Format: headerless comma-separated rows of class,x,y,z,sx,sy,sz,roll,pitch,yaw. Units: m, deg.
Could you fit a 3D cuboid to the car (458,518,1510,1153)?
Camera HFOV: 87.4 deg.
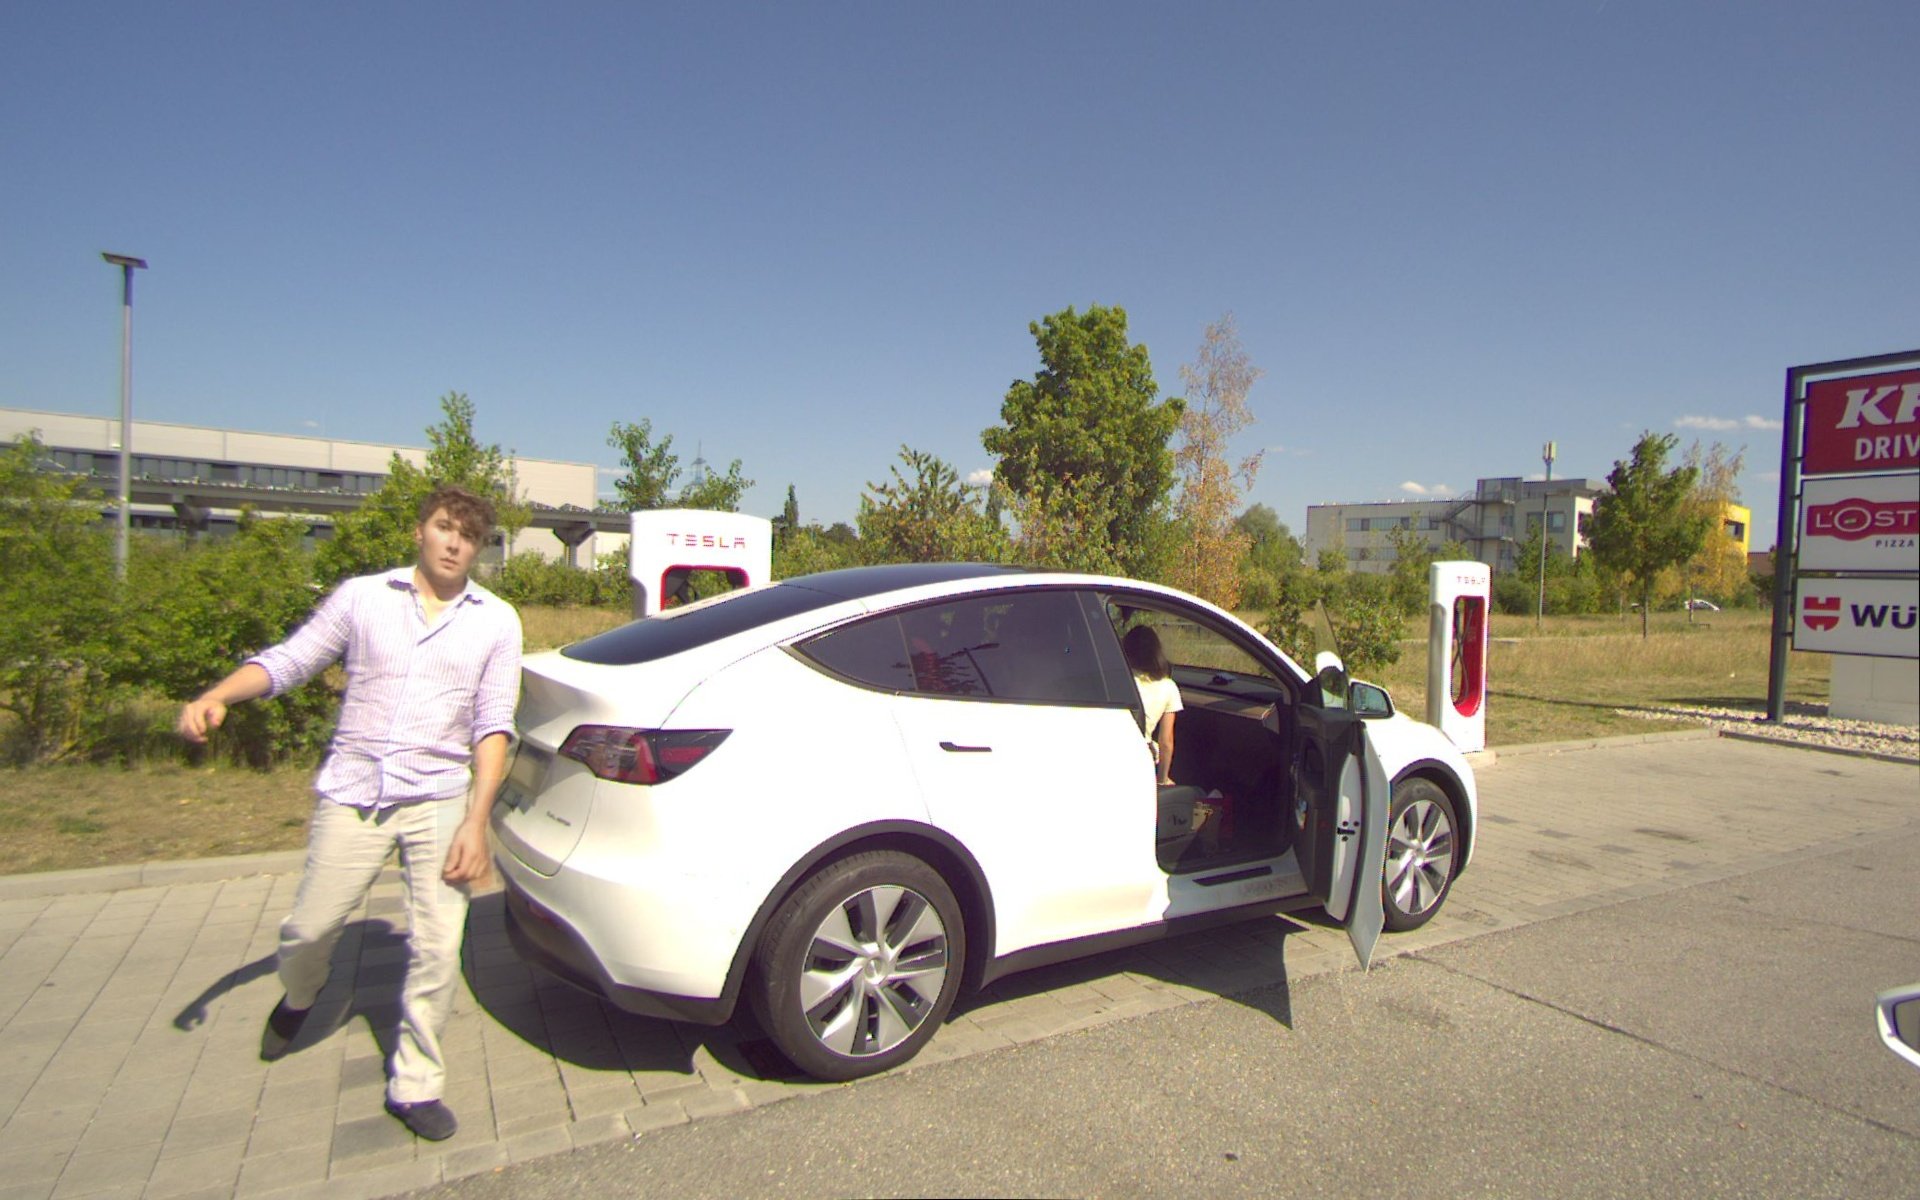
car,0.301,0.615,4.528,4.439,1.622,1.853,1,1,-32

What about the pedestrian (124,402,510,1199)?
pedestrian,-1.697,0.488,2.752,0.728,1.824,1.027,1,2,-30
